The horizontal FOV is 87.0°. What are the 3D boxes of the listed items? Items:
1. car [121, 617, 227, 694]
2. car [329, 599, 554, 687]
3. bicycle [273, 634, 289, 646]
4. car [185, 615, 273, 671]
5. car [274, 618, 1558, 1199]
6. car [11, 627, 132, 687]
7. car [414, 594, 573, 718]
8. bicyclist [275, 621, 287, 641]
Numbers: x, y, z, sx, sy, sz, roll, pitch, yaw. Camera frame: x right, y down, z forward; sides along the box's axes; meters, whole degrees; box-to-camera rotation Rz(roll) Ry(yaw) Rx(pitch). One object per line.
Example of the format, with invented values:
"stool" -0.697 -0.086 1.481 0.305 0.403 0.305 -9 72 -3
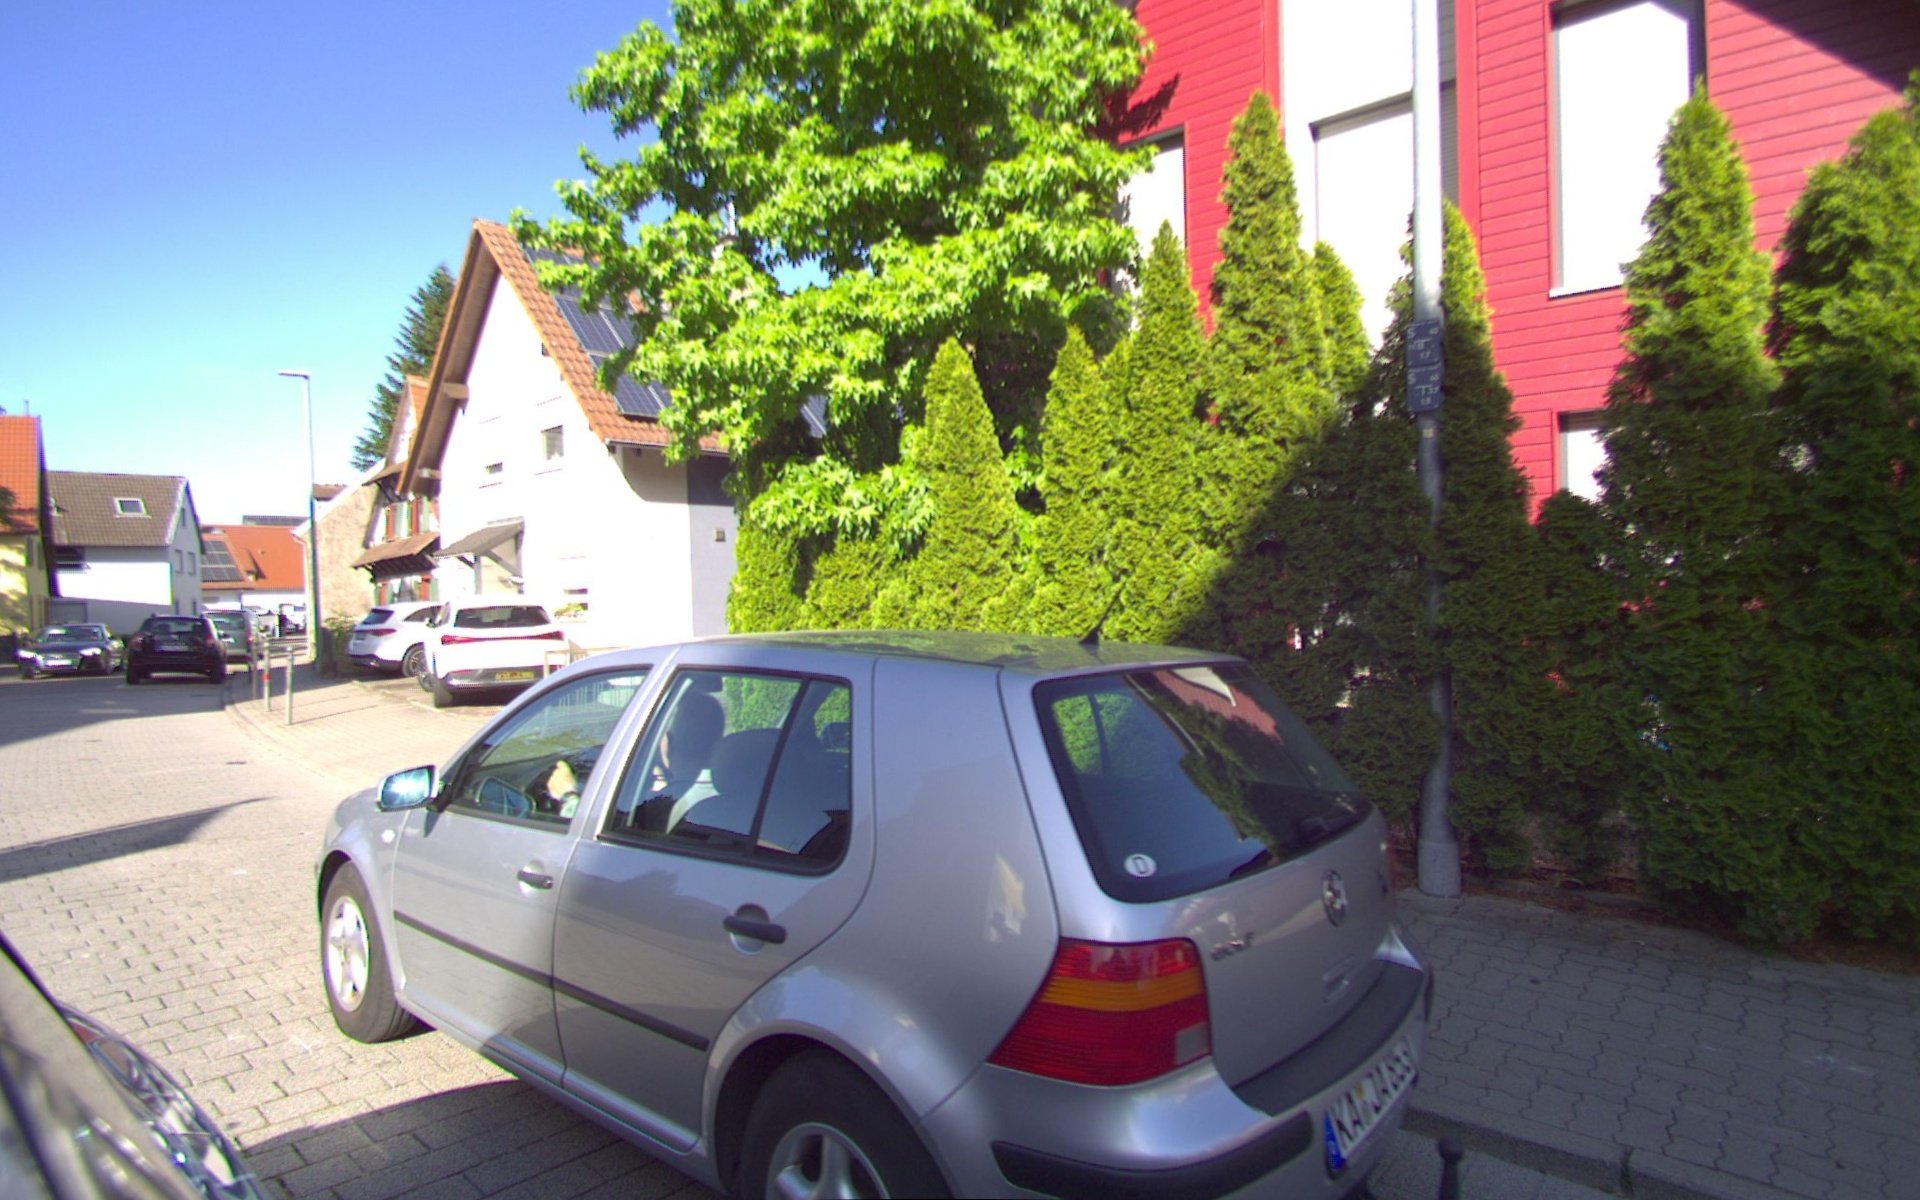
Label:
"car" -19.243 1.284 24.930 1.808 1.683 4.364 0 -1 -34
"car" -11.428 0.905 22.473 1.999 1.601 3.946 -3 1 41
"bicycle" -43.593 2.545 65.003 0.573 0.767 1.805 0 -2 -26
"car" -24.908 1.455 34.626 1.806 1.803 4.366 2 -3 -28
"car" -0.532 0.783 3.141 3.889 1.413 1.654 -1 -2 40
"car" -23.997 1.489 27.495 1.778 1.489 4.356 1 -2 -32
"car" -7.521 0.776 16.067 1.792 1.607 4.459 -3 1 -31
"bicyclist" -43.657 1.987 65.084 0.573 1.330 0.610 0 -2 -26
